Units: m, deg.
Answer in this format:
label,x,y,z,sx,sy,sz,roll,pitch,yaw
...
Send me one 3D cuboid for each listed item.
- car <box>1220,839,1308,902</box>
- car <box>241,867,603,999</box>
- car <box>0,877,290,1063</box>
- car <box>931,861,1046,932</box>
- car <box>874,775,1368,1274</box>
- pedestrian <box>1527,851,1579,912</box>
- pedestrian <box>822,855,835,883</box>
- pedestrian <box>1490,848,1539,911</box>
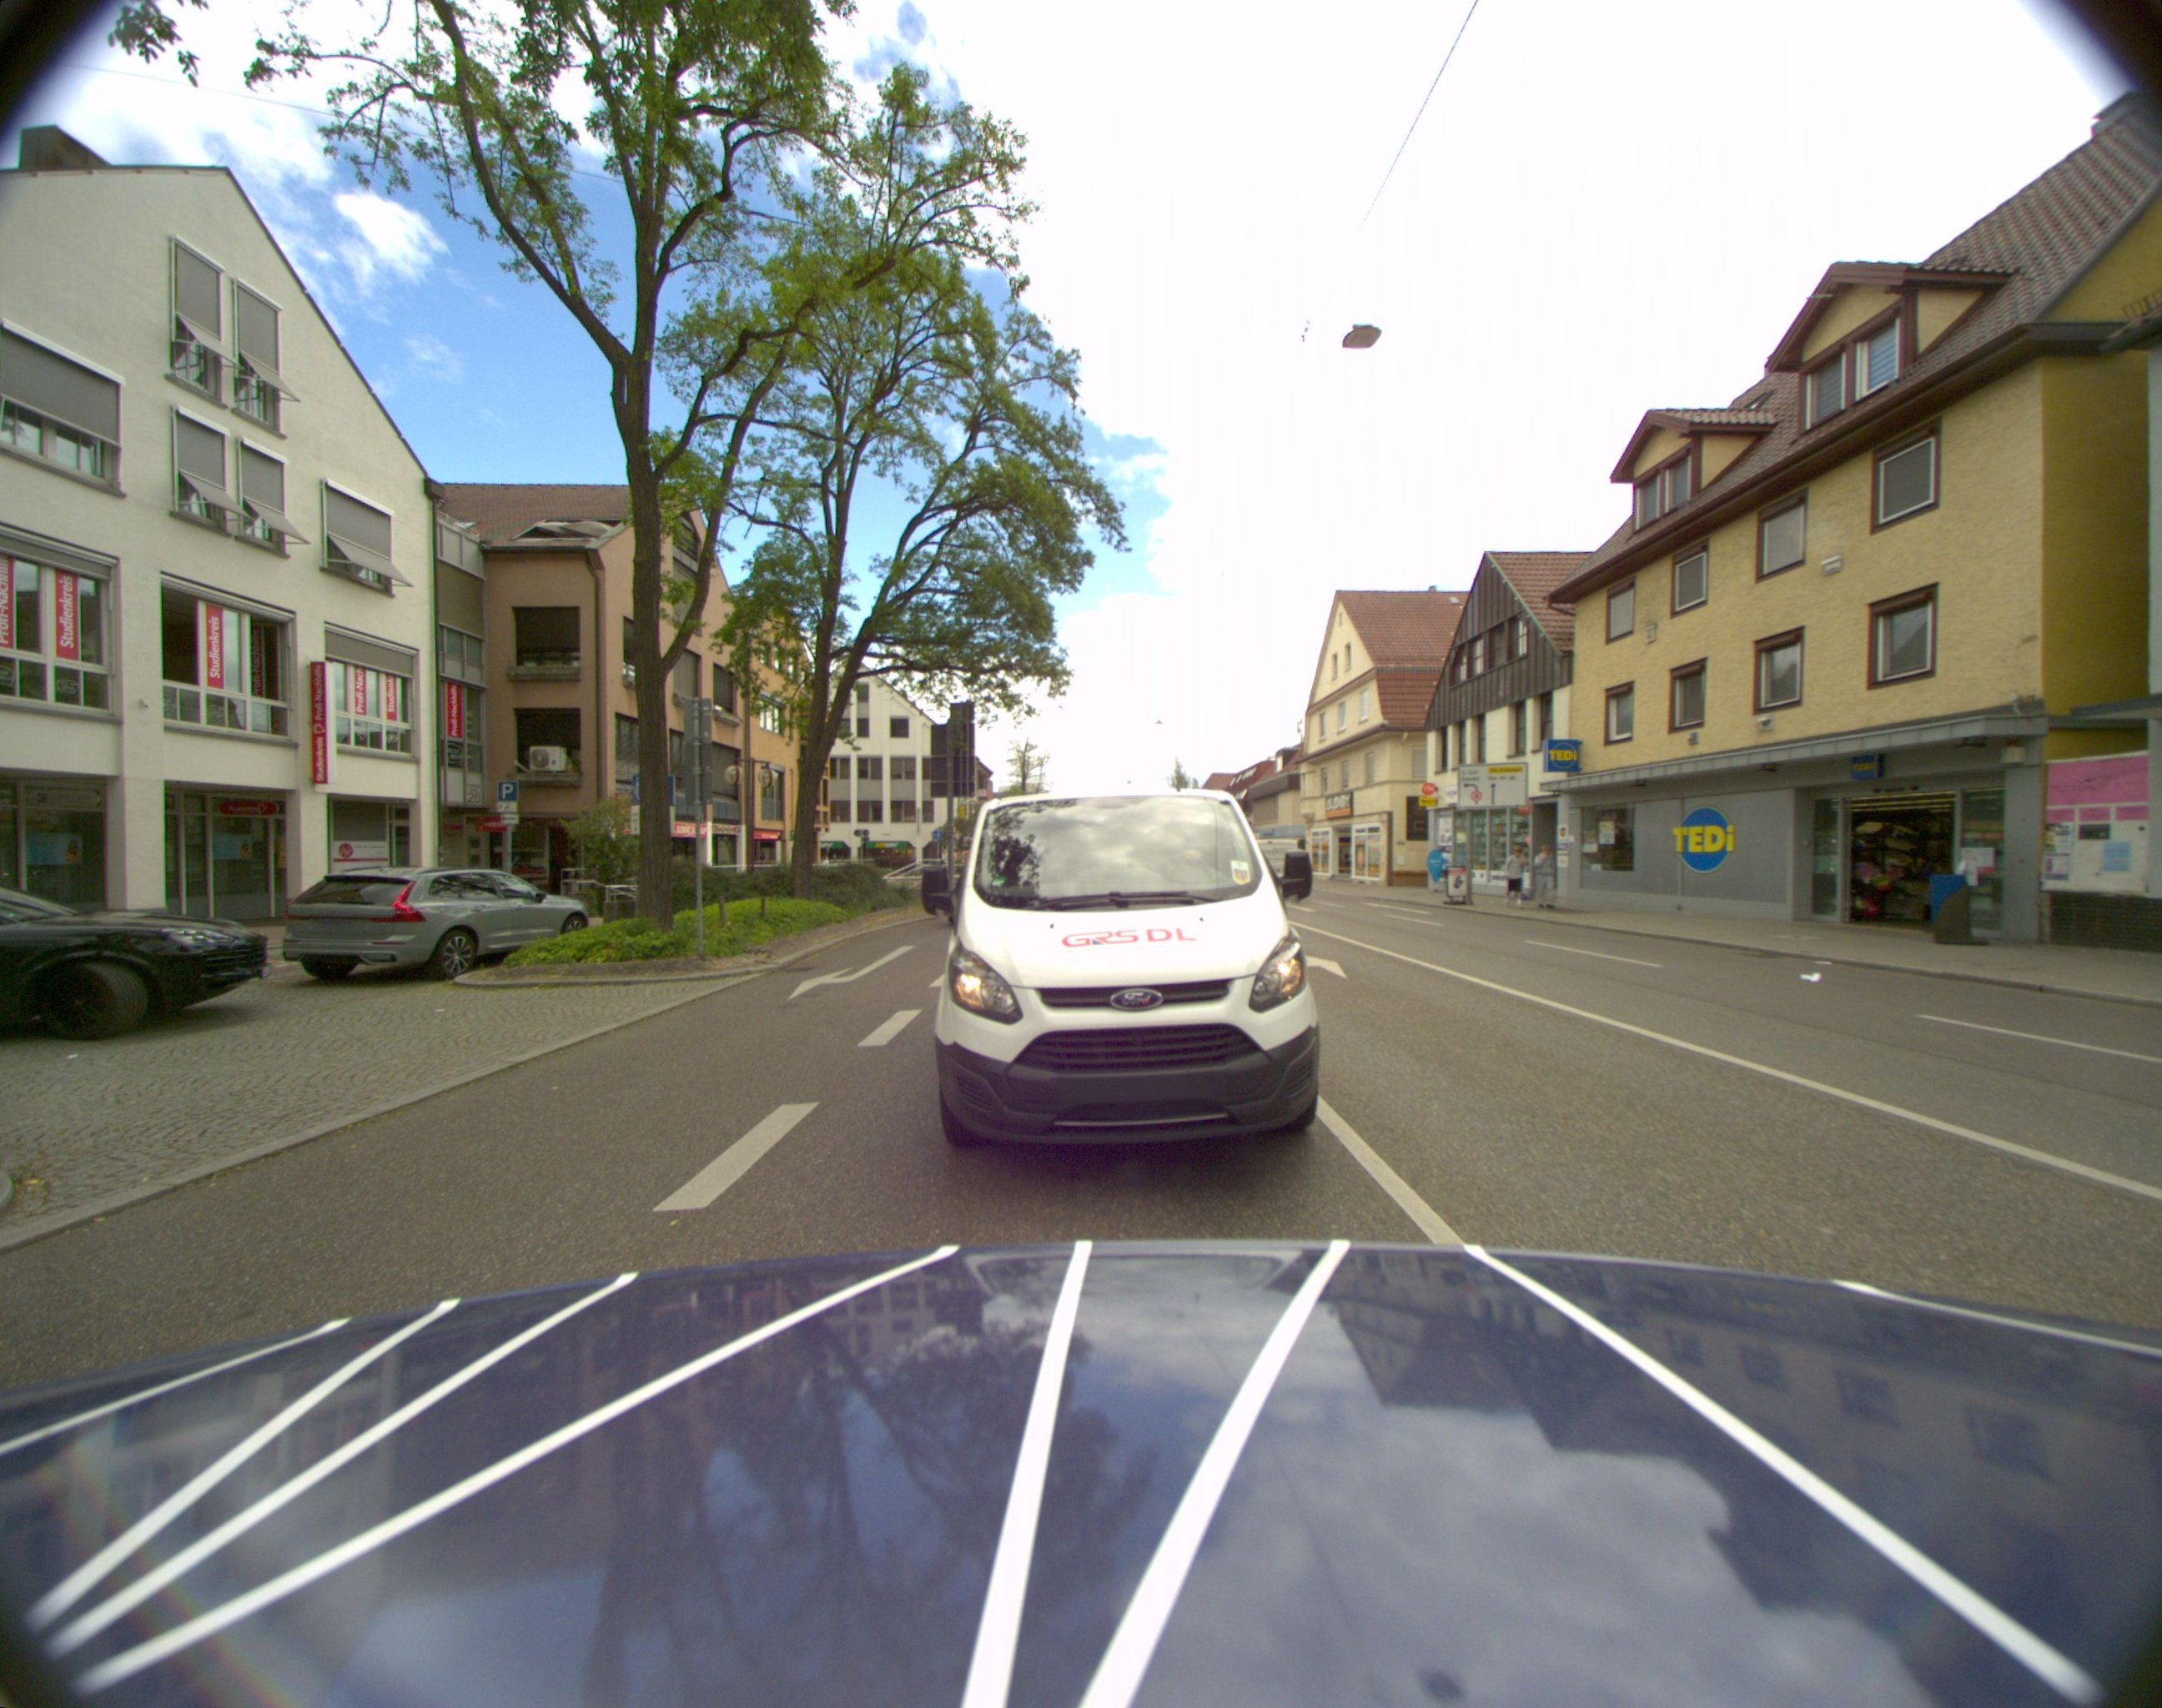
label,x,y,z,sx,sy,sz,roll,pitch,yaw
car,6.038,0.515,25.649,1.909,1.931,4.526,-1,0,0
car,-10.331,1.103,12.579,1.999,1.645,4.752,1,1,-3
car,-11.163,1.077,7.248,4.764,1.669,1.994,1,-1,-38
car,-2.183,0.959,19.069,1.800,1.521,4.003,0,0,9
car,0.203,0.699,5.994,1.940,1.968,5.779,-2,0,1
pedestrian,12.496,0.703,20.138,0.812,1.574,0.920,-1,1,1
pedestrian,-14.443,0.862,43.474,0.505,1.615,0.493,-1,1,-45
pedestrian,11.619,0.675,20.388,0.812,1.651,0.920,-1,1,1
